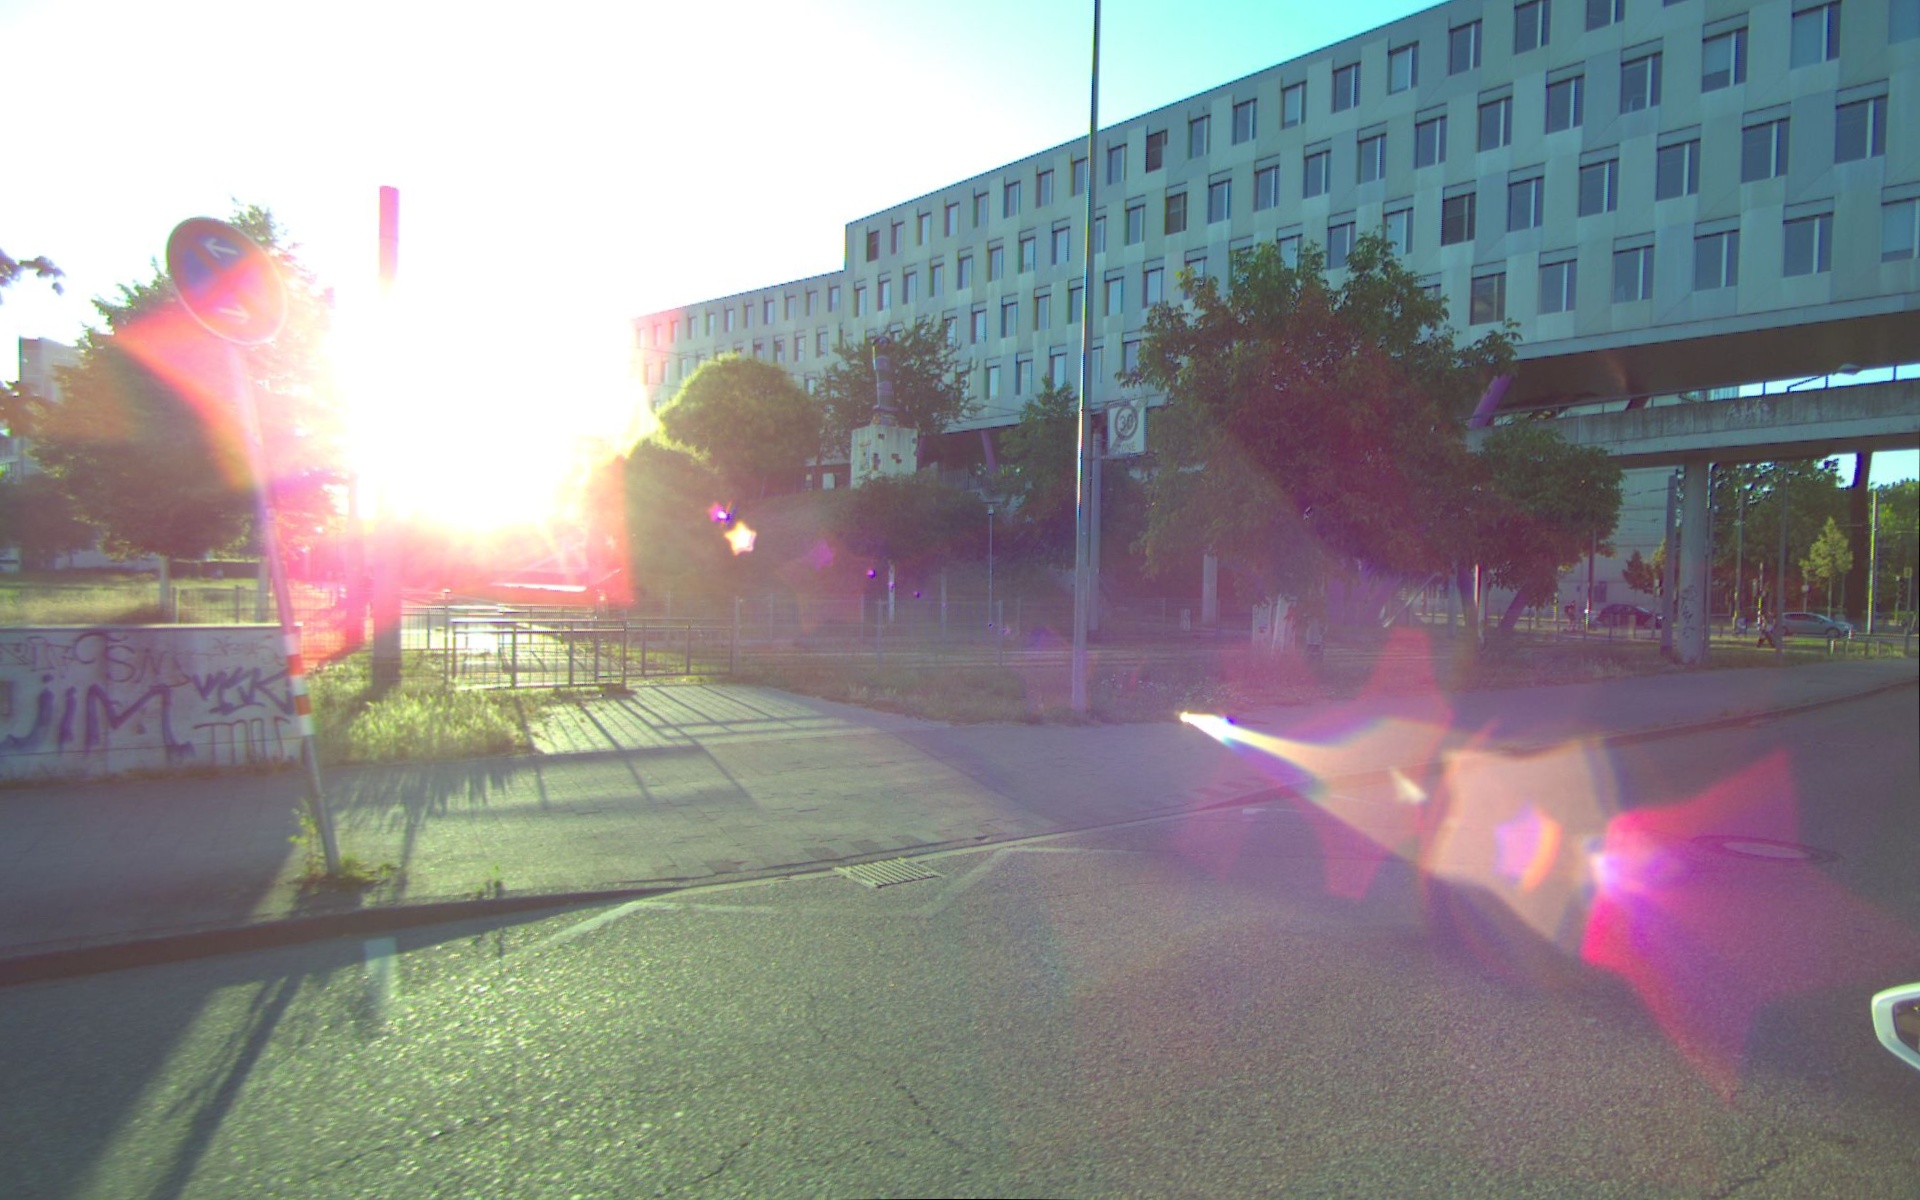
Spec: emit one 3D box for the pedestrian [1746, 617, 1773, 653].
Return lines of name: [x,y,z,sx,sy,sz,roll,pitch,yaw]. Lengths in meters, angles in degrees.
pedestrian: [37.870,1.657,47.603,0.700,1.646,0.686,0,2,-16]

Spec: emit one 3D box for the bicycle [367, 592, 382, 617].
bicycle: [-21.826,0.164,37.442,0.426,0.912,1.225,0,2,-32]

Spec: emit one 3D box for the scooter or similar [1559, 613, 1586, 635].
scooter or similar: [35.304,1.376,57.930,0.499,1.217,1.204,-1,2,-37]

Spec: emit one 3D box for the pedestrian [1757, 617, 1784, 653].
pedestrian: [38.584,1.659,47.811,0.700,1.686,0.700,0,2,-16]

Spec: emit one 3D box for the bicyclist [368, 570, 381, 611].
bicyclist: [-21.828,-0.348,37.447,0.419,1.515,0.509,0,2,-31]

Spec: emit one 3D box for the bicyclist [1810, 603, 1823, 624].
bicyclist: [74.408,1.164,87.230,0.746,1.746,0.551,2,2,32]

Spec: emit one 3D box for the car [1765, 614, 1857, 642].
car: [51.408,1.655,60.734,1.587,1.438,3.996,0,2,-35]

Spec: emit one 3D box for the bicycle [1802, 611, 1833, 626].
bicycle: [74.451,1.602,87.232,1.934,1.143,0.559,1,2,32]

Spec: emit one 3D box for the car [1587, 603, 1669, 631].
car: [47.471,1.181,71.418,1.925,1.841,4.438,0,2,-34]

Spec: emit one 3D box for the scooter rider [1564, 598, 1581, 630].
scooter rider: [35.311,0.803,57.929,0.439,1.807,0.700,-1,2,-37]
